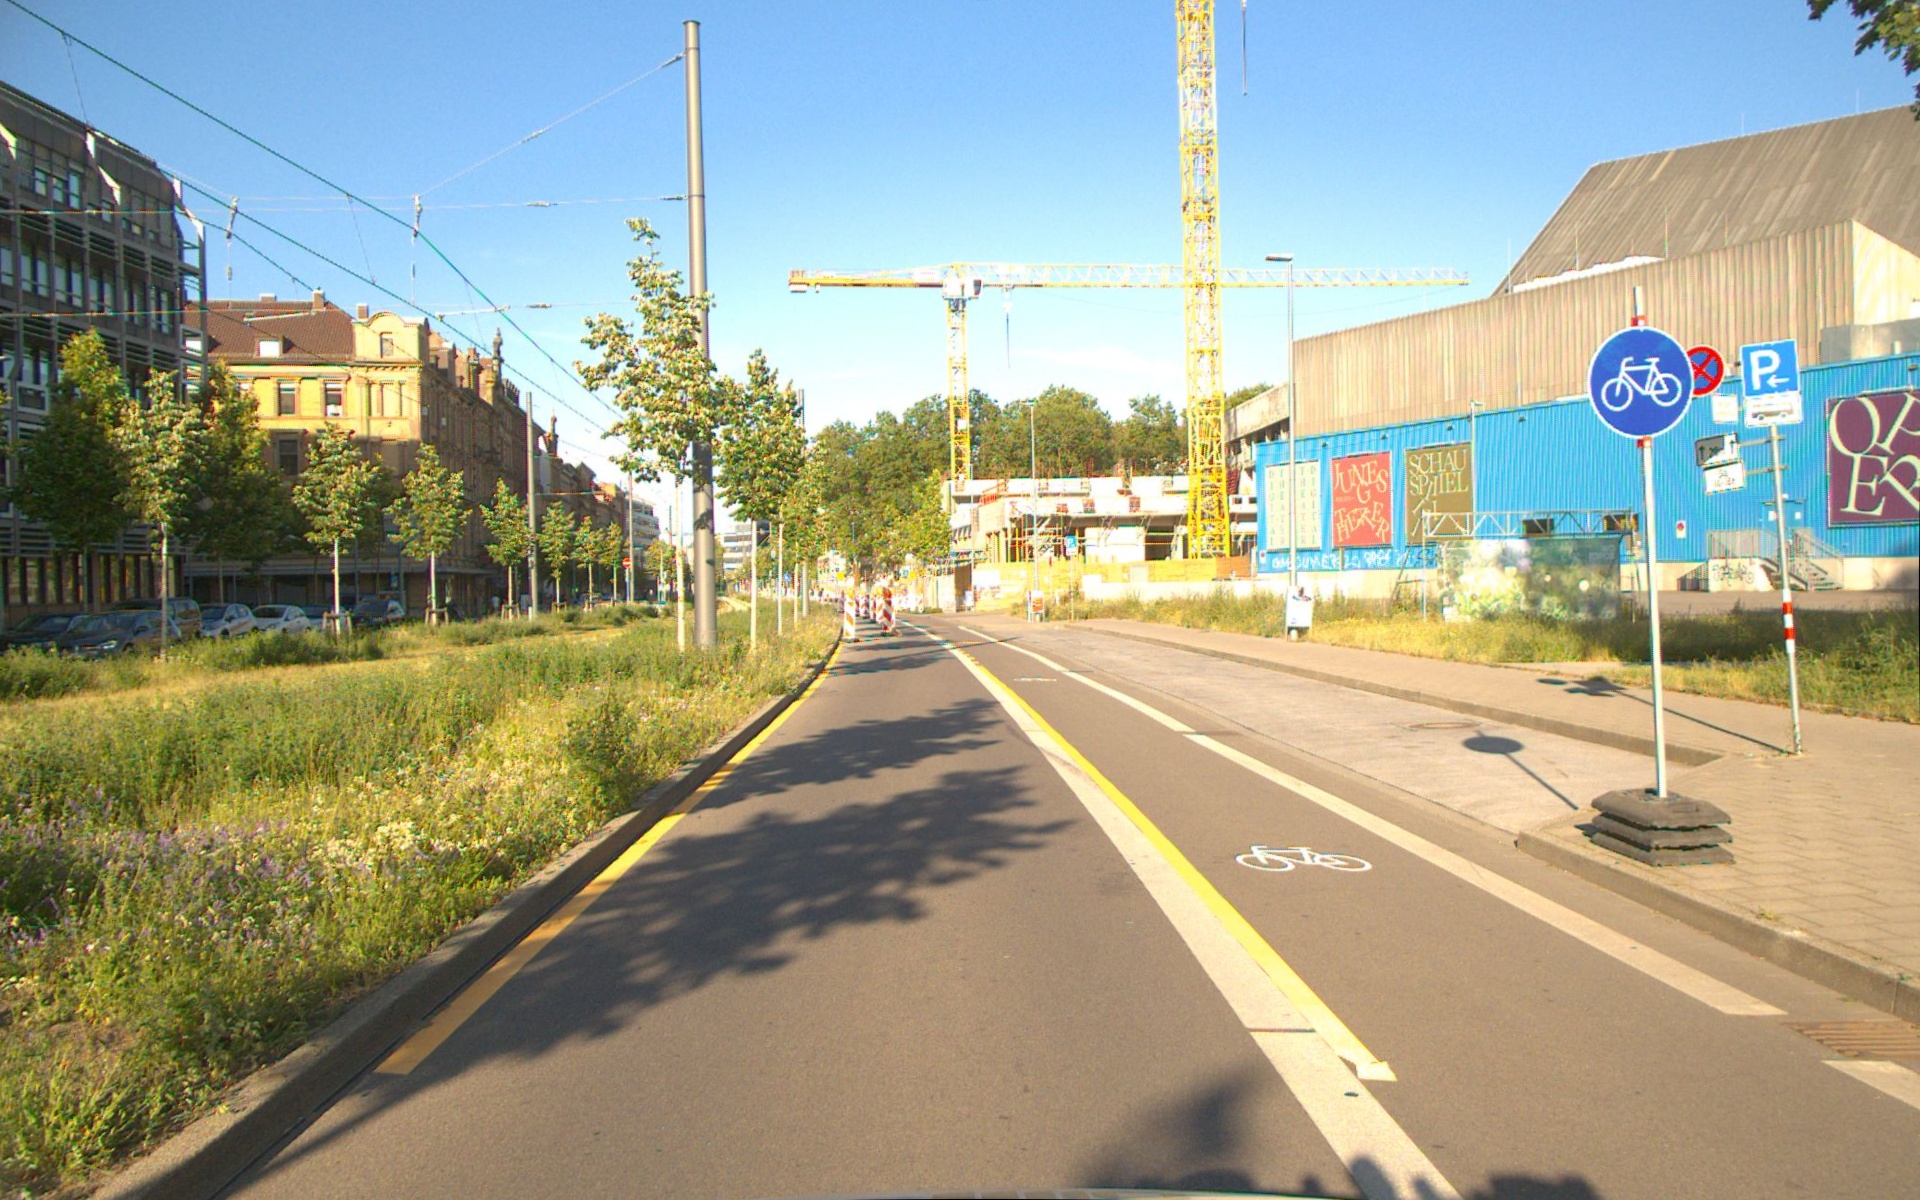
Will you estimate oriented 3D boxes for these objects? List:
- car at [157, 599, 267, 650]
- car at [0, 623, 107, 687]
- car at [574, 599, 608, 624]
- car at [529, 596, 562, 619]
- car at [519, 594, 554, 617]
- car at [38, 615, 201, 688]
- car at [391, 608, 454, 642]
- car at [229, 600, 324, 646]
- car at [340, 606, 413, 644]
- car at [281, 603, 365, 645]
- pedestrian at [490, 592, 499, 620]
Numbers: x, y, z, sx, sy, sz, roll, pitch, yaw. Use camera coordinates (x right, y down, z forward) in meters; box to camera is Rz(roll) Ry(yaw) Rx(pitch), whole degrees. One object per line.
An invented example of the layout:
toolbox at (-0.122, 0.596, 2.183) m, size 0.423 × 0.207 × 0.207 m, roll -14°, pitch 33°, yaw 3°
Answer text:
car at (-25.717, 0.804, 57.056) m, size 1.865 × 1.602 × 4.300 m, roll -2°, pitch 0°, yaw -1°
car at (-26.045, 1.527, 46.563) m, size 1.865 × 1.602 × 4.300 m, roll -2°, pitch 0°, yaw -1°
car at (-24.987, 0.745, 112.076) m, size 1.868 × 1.603 × 4.294 m, roll -2°, pitch 0°, yaw -8°
car at (-30.914, 0.537, 123.490) m, size 1.868 × 1.603 × 4.294 m, roll -2°, pitch 0°, yaw -8°
car at (-30.366, 0.371, 118.599) m, size 1.868 × 1.603 × 4.294 m, roll -2°, pitch 0°, yaw -8°
car at (-20.808, 1.238, 41.161) m, size 1.865 × 1.602 × 4.300 m, roll -2°, pitch 0°, yaw -1°
car at (-27.389, 1.258, 84.438) m, size 1.865 × 1.602 × 4.300 m, roll -2°, pitch 0°, yaw -1°
car at (-25.951, 0.857, 62.936) m, size 1.865 × 1.602 × 4.300 m, roll -2°, pitch 0°, yaw -1°
car at (-26.907, 1.113, 76.370) m, size 1.865 × 1.602 × 4.300 m, roll -2°, pitch 0°, yaw -1°
car at (-26.425, 0.971, 68.784) m, size 1.865 × 1.602 × 4.300 m, roll -2°, pitch 0°, yaw -1°
pedestrian at (-33.188, 0.436, 117.928) m, size 0.539 × 1.981 × 0.649 m, roll -1°, pitch 0°, yaw -9°
